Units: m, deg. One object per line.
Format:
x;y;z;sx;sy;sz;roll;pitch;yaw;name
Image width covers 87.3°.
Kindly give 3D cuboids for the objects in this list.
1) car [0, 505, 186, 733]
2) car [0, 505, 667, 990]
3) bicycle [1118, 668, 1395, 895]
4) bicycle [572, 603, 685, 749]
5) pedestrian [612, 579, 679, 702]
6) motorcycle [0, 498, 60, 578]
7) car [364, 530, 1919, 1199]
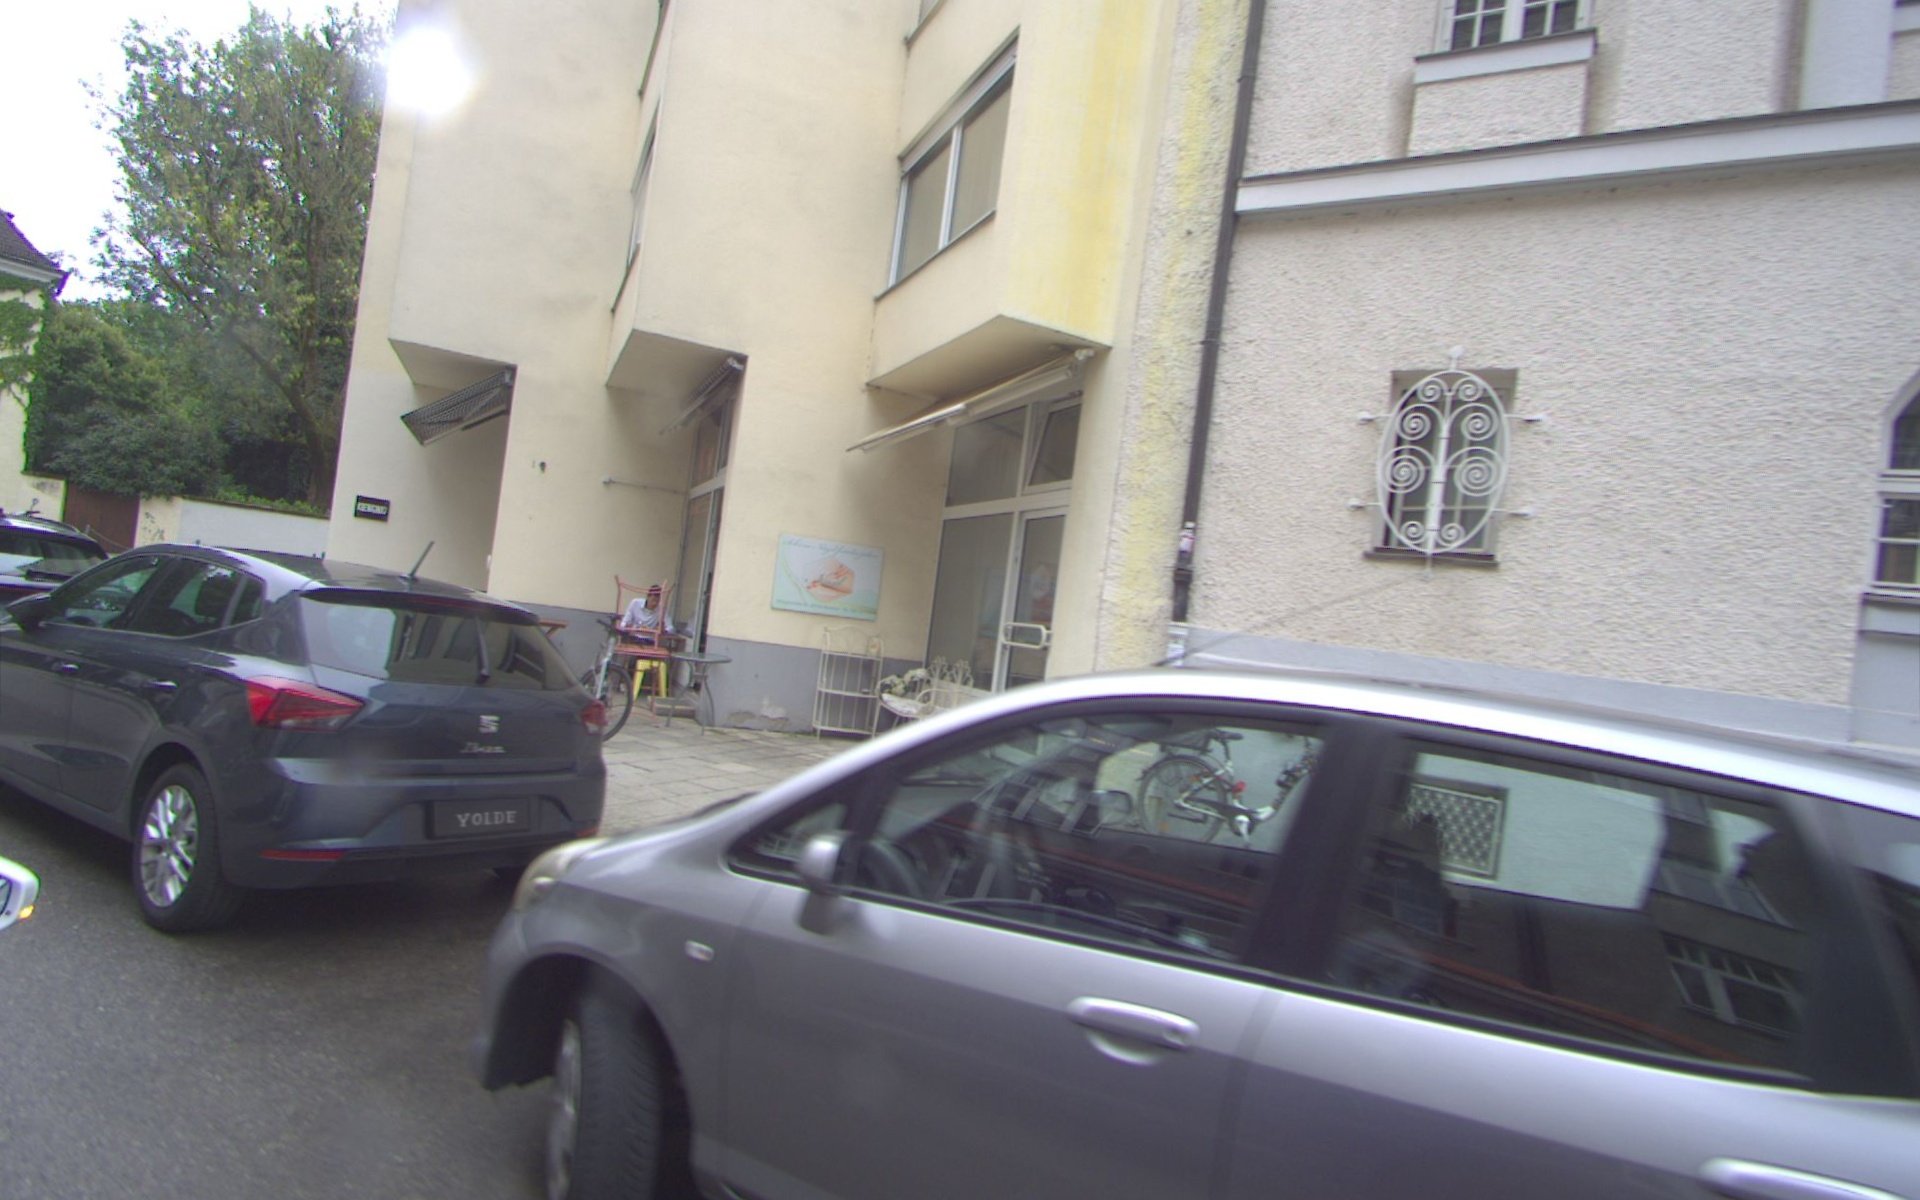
-8.172;-0.085;7.809;4.532;1.488;1.697;7;-2;30;car
-3.507;0.456;5.035;3.790;1.488;1.637;7;-2;31;car
2.036;1.190;6.964;1.648;1.208;0.564;7;2;27;bicycle
-3.040;0.645;9.114;0.743;1.045;1.789;6;1;-23;bicycle
-3.861;0.487;12.334;0.526;1.415;0.669;8;-1;-25;pedestrian
-17.810;-1.215;18.230;0.801;1.371;2.087;7;-2;9;motorcycle
0.617;0.868;2.412;3.788;1.554;1.639;7;-2;28;car
